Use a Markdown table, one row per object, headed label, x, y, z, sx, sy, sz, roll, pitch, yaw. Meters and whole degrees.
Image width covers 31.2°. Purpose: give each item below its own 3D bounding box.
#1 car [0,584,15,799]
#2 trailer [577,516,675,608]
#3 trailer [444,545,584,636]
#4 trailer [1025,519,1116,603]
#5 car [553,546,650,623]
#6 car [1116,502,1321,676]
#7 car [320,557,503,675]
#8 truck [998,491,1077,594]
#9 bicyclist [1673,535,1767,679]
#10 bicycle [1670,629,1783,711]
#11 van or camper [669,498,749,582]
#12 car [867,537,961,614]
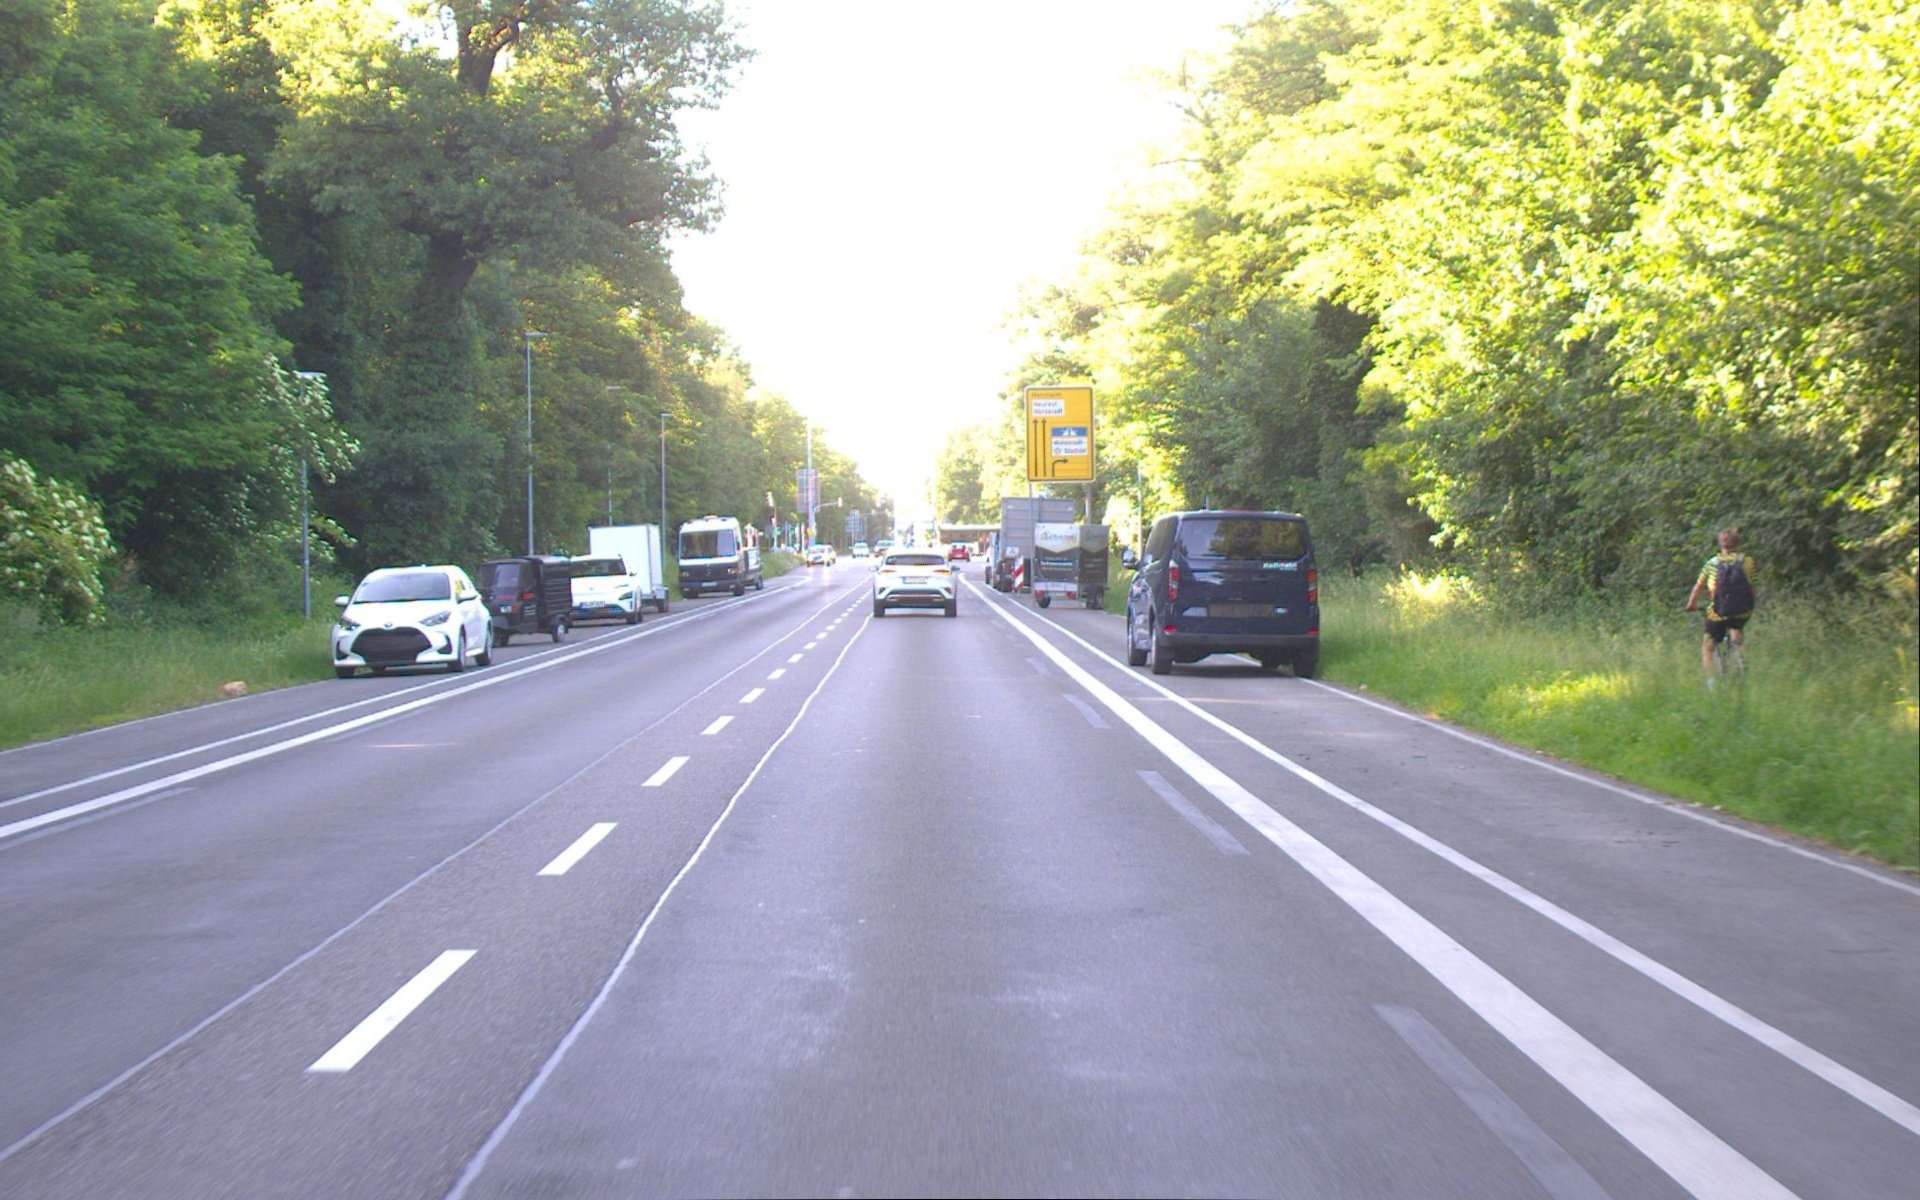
| label | x | y | z | sx | sy | sz | roll | pitch | yaw |
| --- | --- | --- | --- | --- | --- | --- | --- | --- | --- |
| car | -7.427 | 0.670 | 21.293 | 1.855 | 1.459 | 4.784 | -1 | 1 | -1 |
| trailer | -8.662 | -0.993 | 89.523 | 2.075 | 2.285 | 3.486 | -2 | 1 | 1 |
| trailer | -7.932 | -0.189 | 61.239 | 1.397 | 1.568 | 2.672 | 0 | 1 | 20 |
| trailer | 2.817 | -0.994 | 87.223 | 1.616 | 2.105 | 2.394 | 0 | 1 | 20 |
| car | -7.888 | -0.364 | 75.890 | 1.814 | 1.566 | 4.207 | -3 | 1 | -3 |
| car | 3.165 | -0.171 | 43.074 | 2.113 | 2.007 | 5.040 | 1 | 1 | 0 |
| car | -7.601 | 0.189 | 47.986 | 1.867 | 1.445 | 4.071 | -3 | 1 | 0 |
| truck | 2.602 | -1.936 | 116.939 | 2.505 | 3.355 | 7.107 | 0 | 1 | 0 |
| bicyclist | 7.082 | 0.054 | 32.062 | 0.610 | 1.320 | 1.175 | 0 | 1 | 0 |
| bicycle | 7.135 | 0.638 | 32.076 | 0.591 | 0.690 | 1.997 | 0 | 1 | 0 |
| van or camper | -8.739 | -2.090 | 120.162 | 2.302 | 2.758 | 5.557 | -3 | 1 | 0 |
| car | -1.017 | -0.561 | 75.721 | 1.993 | 1.634 | 4.000 | -1 | 1 | -1 |
